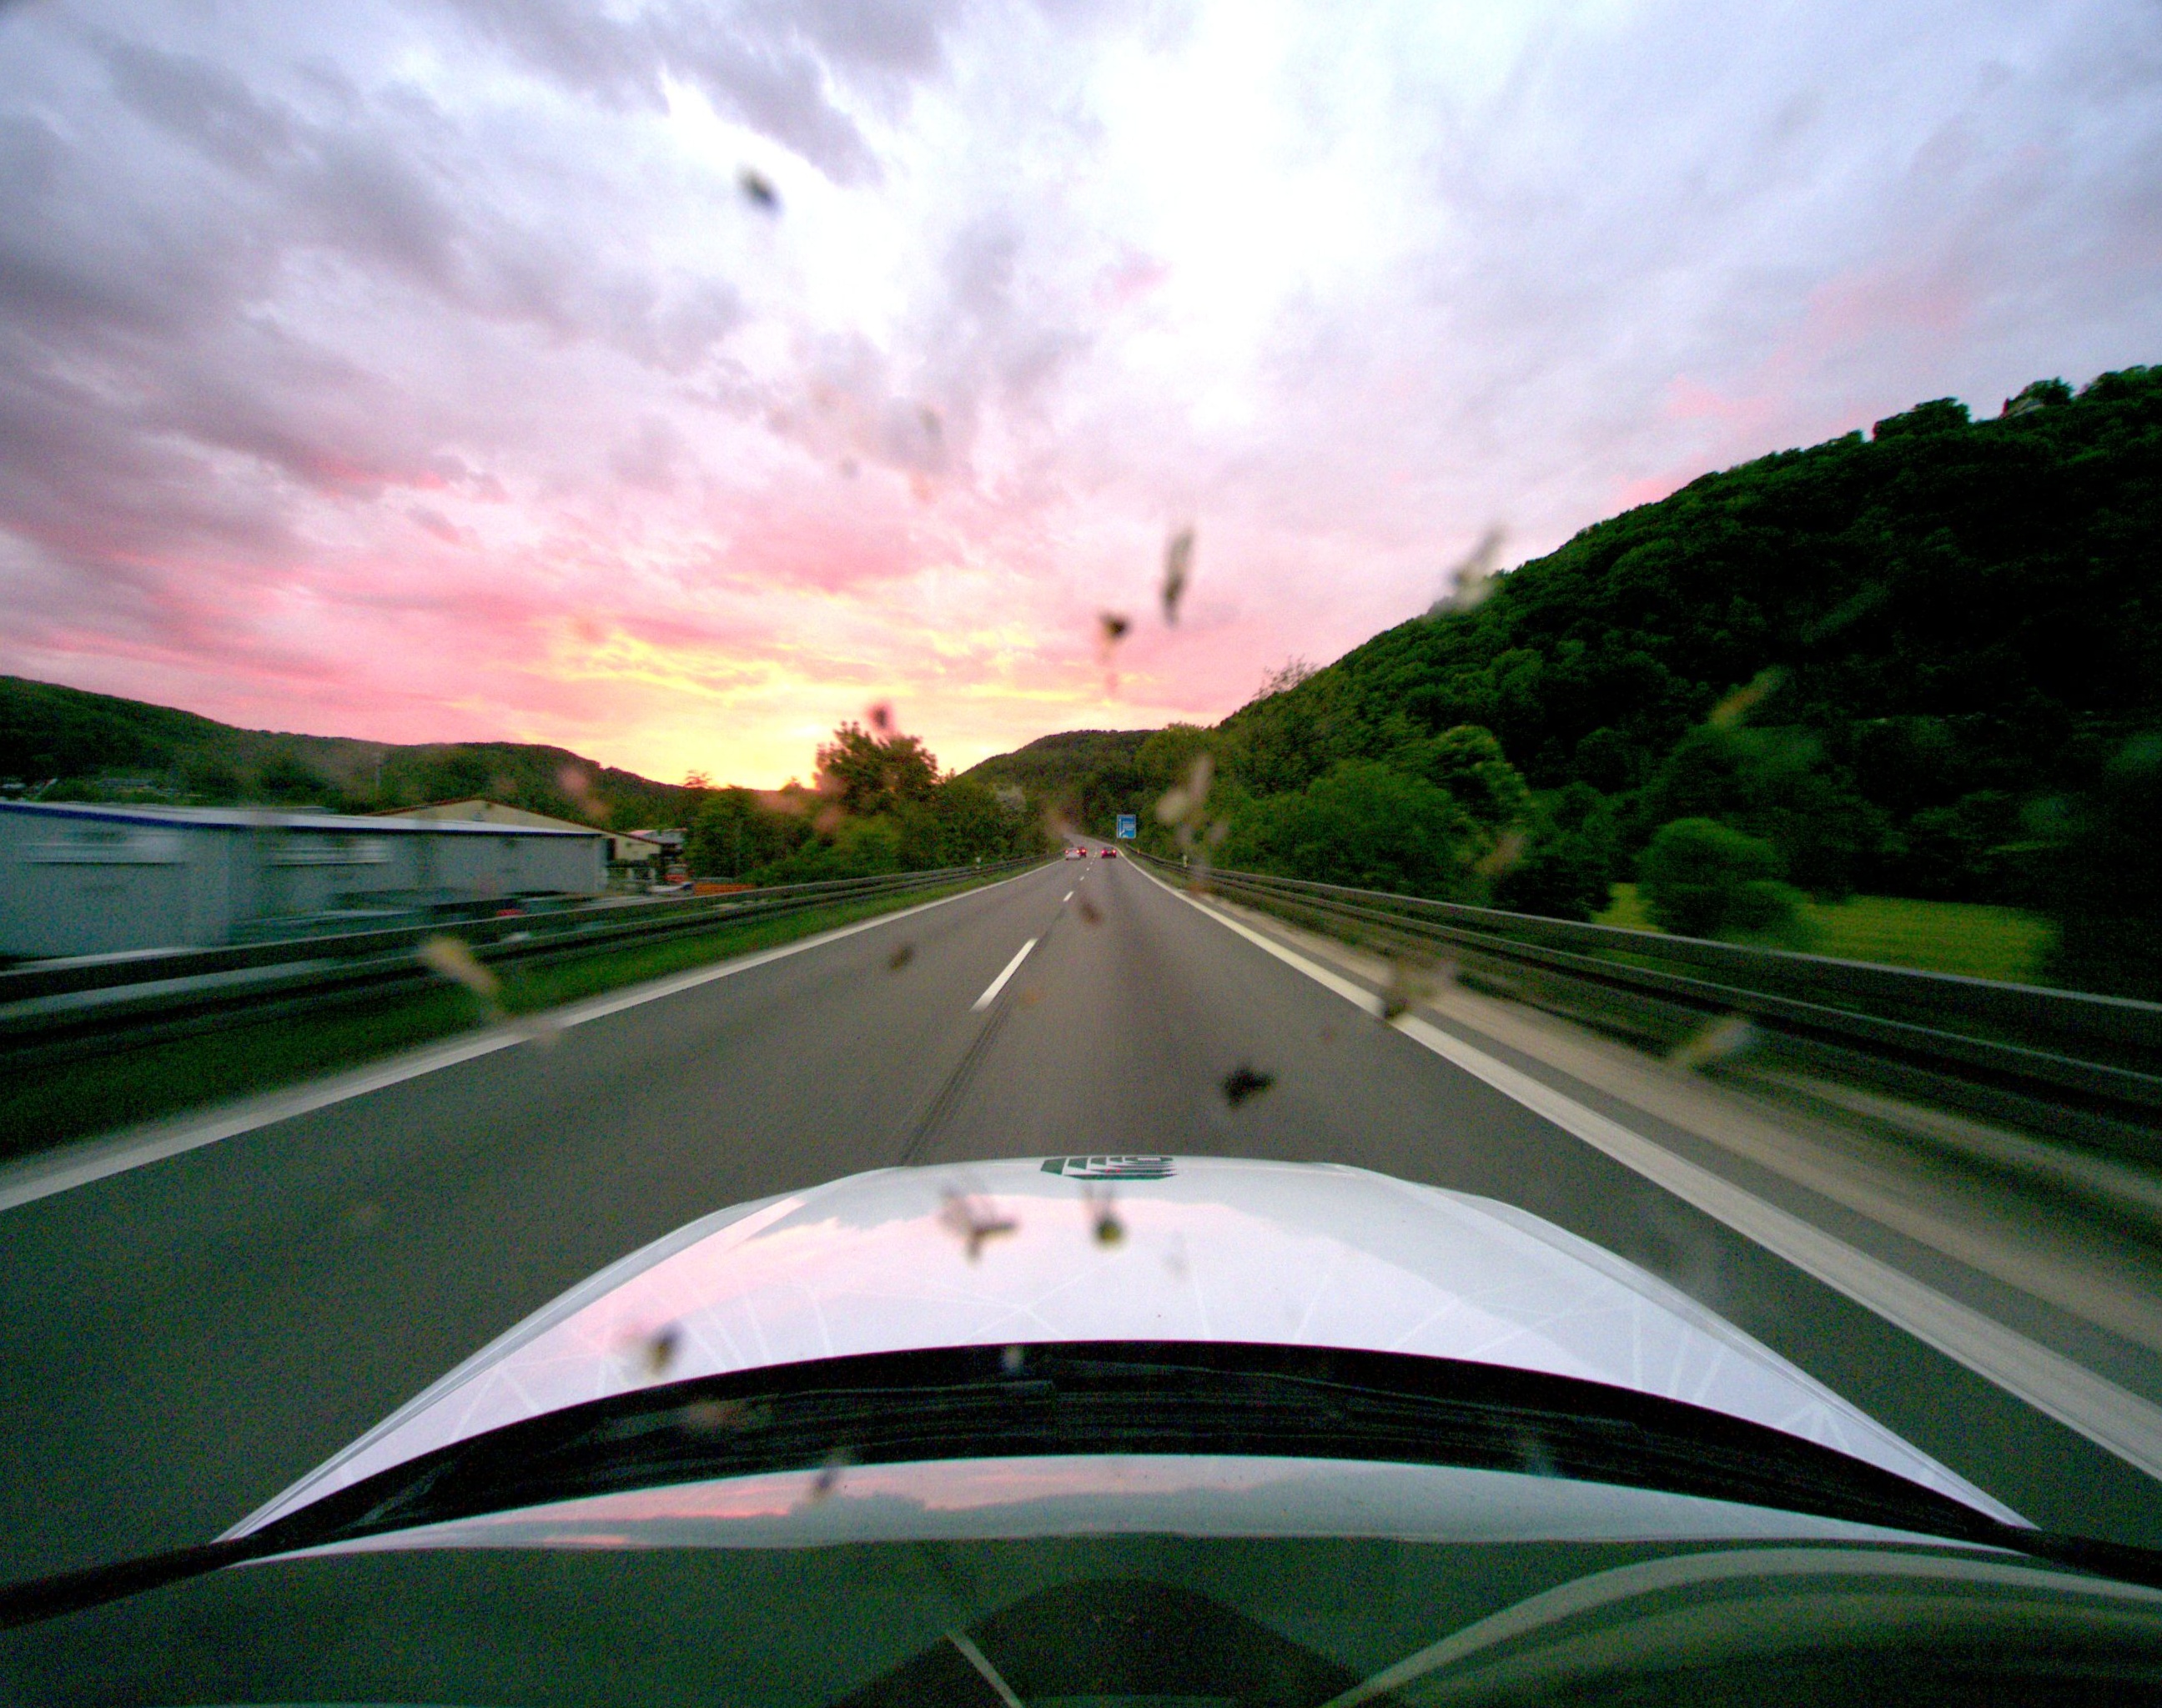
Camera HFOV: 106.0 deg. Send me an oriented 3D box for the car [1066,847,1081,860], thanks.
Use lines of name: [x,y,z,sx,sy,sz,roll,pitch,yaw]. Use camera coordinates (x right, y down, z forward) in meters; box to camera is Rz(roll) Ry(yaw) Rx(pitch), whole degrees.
car: [-0.918,-0.084,100.413,1.712,1.501,4.002,-2,1,1]

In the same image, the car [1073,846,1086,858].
car: [-0.200,-0.256,113.732,1.712,1.635,4.002,-2,1,1]

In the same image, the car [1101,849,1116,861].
car: [3.595,0.159,107.390,1.871,1.466,4.002,-2,1,1]
